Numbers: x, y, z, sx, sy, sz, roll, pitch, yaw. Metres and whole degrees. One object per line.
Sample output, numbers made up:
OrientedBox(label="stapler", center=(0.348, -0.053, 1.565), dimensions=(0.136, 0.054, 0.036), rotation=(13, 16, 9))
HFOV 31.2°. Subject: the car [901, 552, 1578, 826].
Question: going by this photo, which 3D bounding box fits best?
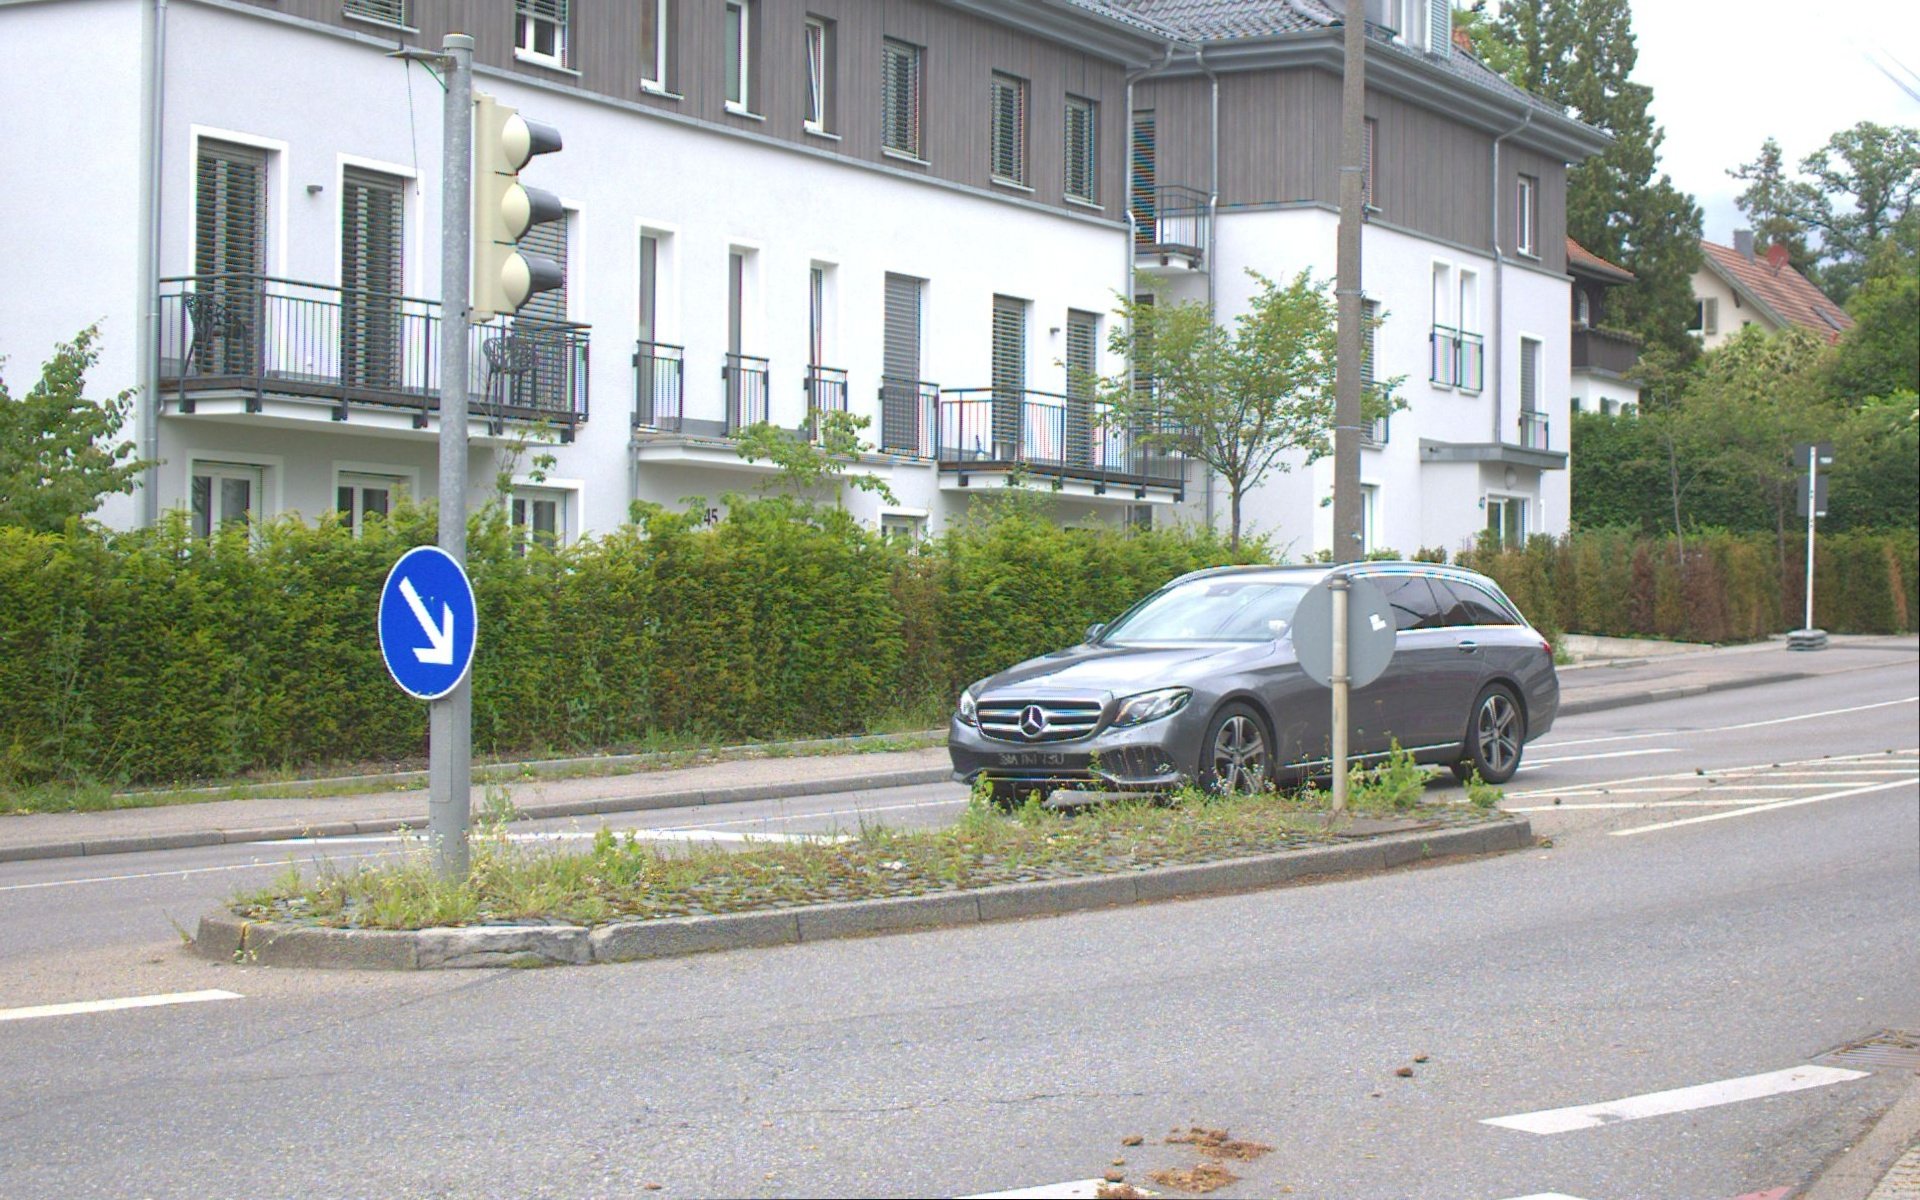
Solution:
OrientedBox(label="car", center=(1.891, 0.485, 21.780), dimensions=(1.829, 1.480, 4.737), rotation=(-1, 1, 40))
